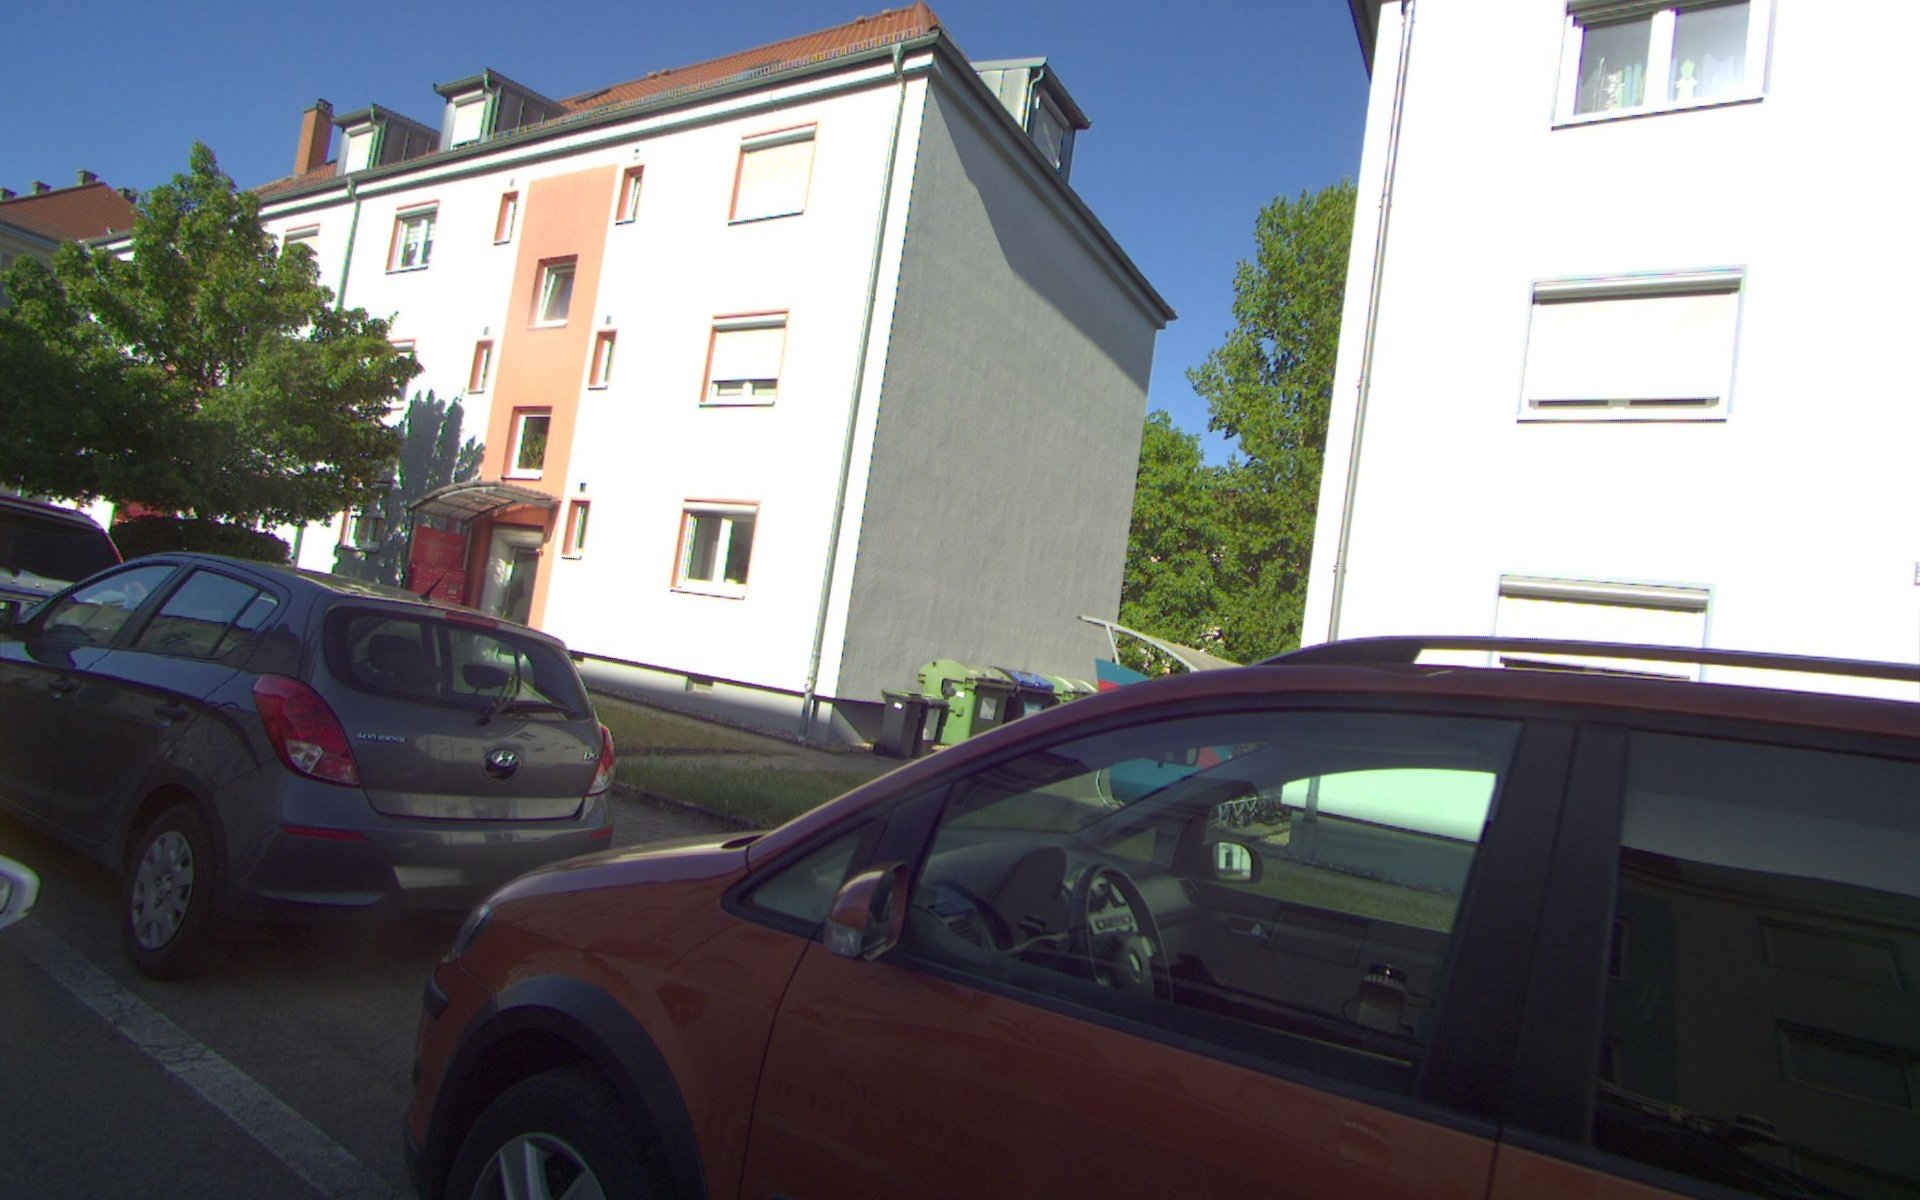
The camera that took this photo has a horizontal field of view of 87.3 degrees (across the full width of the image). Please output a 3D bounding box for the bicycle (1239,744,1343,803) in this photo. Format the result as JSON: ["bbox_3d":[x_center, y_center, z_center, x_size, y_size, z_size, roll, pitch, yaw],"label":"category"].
[{"bbox_3d":[5.988,3.122,18.221,1.649,0.767,0.454,6,-3,32],"label":"bicycle"}]

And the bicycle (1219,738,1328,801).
[{"bbox_3d":[5.356,2.885,17.244,1.649,0.767,0.454,6,-3,32],"label":"bicycle"}]

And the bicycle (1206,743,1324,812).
[{"bbox_3d":[4.790,2.778,15.830,1.649,0.767,0.454,6,-3,32],"label":"bicycle"}]

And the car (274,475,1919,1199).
[{"bbox_3d":[0.846,0.914,1.913,4.059,1.683,1.870,6,-7,32],"label":"car"}]

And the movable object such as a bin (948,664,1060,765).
[{"bbox_3d":[0.739,1.889,16.526,1.168,1.431,1.364,7,-3,31],"label":"movable object such as a bin"}]

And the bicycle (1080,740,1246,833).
[{"bbox_3d":[2.416,2.210,12.104,1.838,0.748,0.454,6,-3,32],"label":"bicycle"}]

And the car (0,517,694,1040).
[{"bbox_3d":[-3.356,0.580,4.811,3.775,1.474,1.625,7,-6,29],"label":"car"}]

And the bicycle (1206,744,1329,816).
[{"bbox_3d":[4.640,2.702,15.245,1.649,0.767,0.454,6,-3,32],"label":"bicycle"}]

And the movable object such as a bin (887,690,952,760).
[{"bbox_3d":[-0.579,1.794,14.462,0.622,0.896,0.524,7,-3,32],"label":"movable object such as a bin"}]

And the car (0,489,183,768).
[{"bbox_3d":[-7.744,-0.049,7.235,4.305,1.687,1.707,7,-5,30],"label":"car"}]

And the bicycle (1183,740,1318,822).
[{"bbox_3d":[4.122,2.557,14.329,1.694,0.833,0.454,6,-2,32],"label":"bicycle"}]

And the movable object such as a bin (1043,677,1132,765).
[{"bbox_3d":[2.417,2.287,18.998,1.168,1.431,1.068,7,-3,31],"label":"movable object such as a bin"}]

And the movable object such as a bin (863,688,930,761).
[{"bbox_3d":[-0.879,1.733,13.994,0.622,0.896,0.524,7,-3,32],"label":"movable object such as a bin"}]

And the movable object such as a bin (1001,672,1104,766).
[{"bbox_3d":[1.648,2.102,17.753,1.168,1.431,1.364,7,-3,31],"label":"movable object such as a bin"}]

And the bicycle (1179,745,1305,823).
[{"bbox_3d":[3.873,2.508,13.869,1.532,0.767,0.454,6,-2,32],"label":"bicycle"}]

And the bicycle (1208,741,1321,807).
[{"bbox_3d":[5.018,2.852,16.599,1.649,0.767,0.454,6,-3,32],"label":"bicycle"}]

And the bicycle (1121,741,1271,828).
[{"bbox_3d":[3.012,2.341,12.920,1.758,0.767,0.454,6,-3,32],"label":"bicycle"}]

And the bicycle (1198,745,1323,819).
[{"bbox_3d":[4.403,2.652,14.791,1.639,0.767,0.454,6,-3,32],"label":"bicycle"}]

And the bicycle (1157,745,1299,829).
[{"bbox_3d":[3.517,2.447,13.284,1.682,0.767,0.454,6,-3,32],"label":"bicycle"}]

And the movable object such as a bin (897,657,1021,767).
[{"bbox_3d":[0.005,1.699,15.239,1.168,1.431,1.364,7,-3,31],"label":"movable object such as a bin"}]

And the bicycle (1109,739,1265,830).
[{"bbox_3d":[2.780,2.252,12.435,1.751,0.776,0.454,6,-2,32],"label":"bicycle"}]
